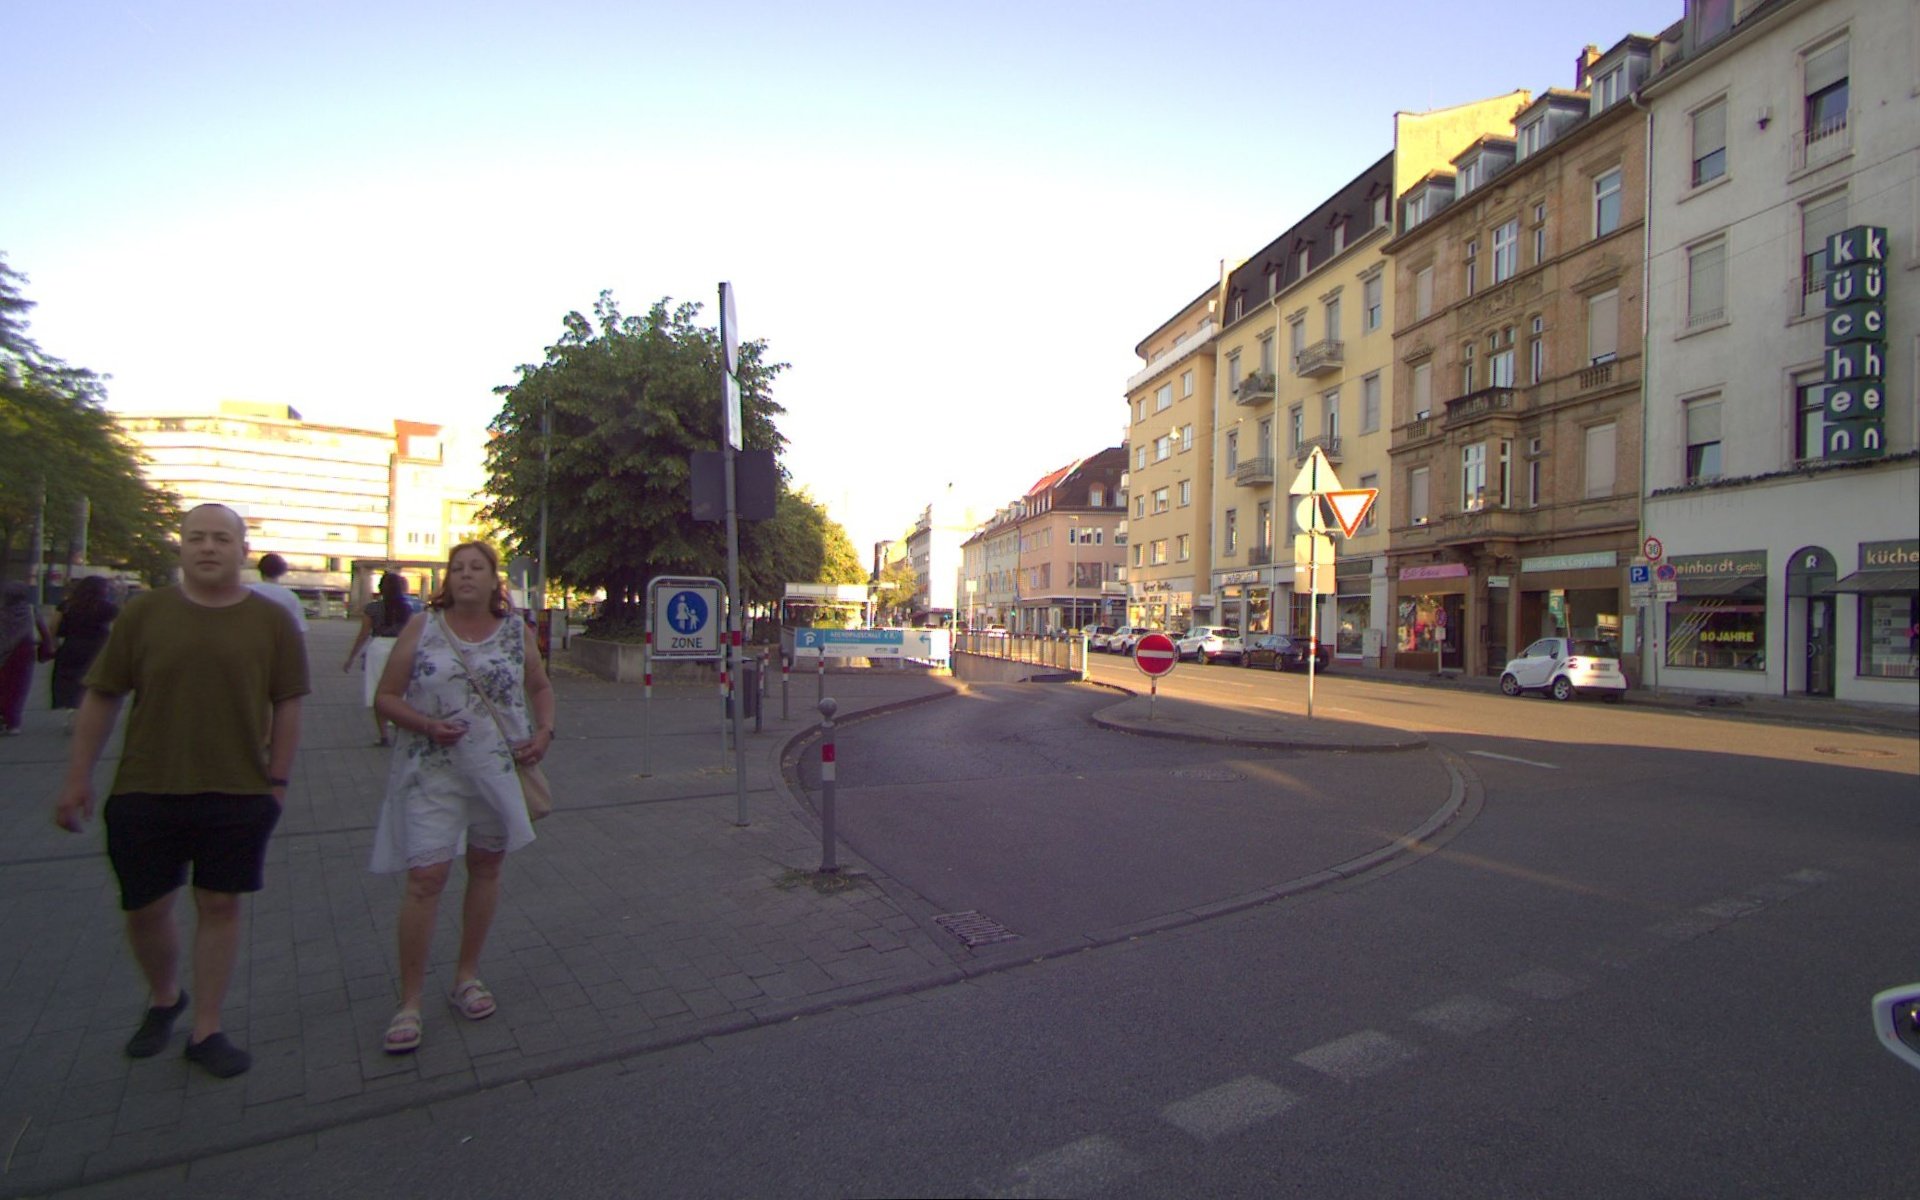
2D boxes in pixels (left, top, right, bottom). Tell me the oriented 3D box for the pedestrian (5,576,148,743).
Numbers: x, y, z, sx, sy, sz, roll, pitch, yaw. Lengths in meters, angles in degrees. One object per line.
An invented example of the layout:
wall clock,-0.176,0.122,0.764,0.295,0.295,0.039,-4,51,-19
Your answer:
pedestrian,-8.817,0.579,10.061,0.786,1.603,0.728,2,0,-15

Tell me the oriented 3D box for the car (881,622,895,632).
car,-12.675,4.769,177.166,1.964,1.638,3.993,2,-2,-10

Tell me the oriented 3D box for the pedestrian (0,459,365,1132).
pedestrian,-2.569,0.559,3.379,0.845,1.901,0.706,2,0,-39

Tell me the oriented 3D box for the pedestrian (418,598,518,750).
pedestrian,-5.162,0.751,10.554,0.703,1.506,0.603,2,0,26

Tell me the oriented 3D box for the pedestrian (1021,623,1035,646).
pedestrian,5.232,2.654,77.578,0.784,1.743,0.809,3,-1,-17

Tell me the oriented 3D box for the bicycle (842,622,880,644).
bicycle,-6.541,2.175,66.179,2.397,1.253,0.516,4,-2,-13

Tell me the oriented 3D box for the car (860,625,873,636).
car,-14.714,4.797,158.132,1.857,1.505,3.994,2,-1,-9

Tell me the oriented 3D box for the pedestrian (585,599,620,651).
pedestrian,-14.505,1.020,40.764,0.896,2.040,0.919,2,-1,12

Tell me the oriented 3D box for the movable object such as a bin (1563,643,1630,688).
movable object such as a bin,17.918,1.839,28.309,0.853,1.202,1.395,2,-1,-11

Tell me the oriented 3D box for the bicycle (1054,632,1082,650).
bicycle,7.492,2.846,69.599,1.858,1.127,0.592,3,-3,-14

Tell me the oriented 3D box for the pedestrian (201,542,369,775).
pedestrian,-5.884,0.472,8.765,0.877,1.878,0.980,2,0,41

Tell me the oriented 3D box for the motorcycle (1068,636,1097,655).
motorcycle,8.224,3.074,67.616,1.787,1.280,0.714,1,-1,-13

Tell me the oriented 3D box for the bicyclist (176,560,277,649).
bicyclist,-13.077,0.099,17.913,1.370,1.529,0.744,2,-1,-40

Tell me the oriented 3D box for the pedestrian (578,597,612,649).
pedestrian,-14.853,0.946,40.894,0.896,2.040,0.919,2,-1,12

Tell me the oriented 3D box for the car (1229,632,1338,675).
car,12.521,2.034,39.237,1.964,1.453,4.842,2,-1,-10

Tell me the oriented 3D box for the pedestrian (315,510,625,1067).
pedestrian,-1.877,0.624,3.852,0.876,1.827,0.706,2,0,-41

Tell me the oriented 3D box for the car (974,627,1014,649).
car,2.621,2.944,78.318,2.300,1.625,3.887,2,-1,-10

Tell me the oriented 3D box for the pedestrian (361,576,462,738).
pedestrian,-6.291,0.629,11.536,0.675,1.769,0.715,2,0,26

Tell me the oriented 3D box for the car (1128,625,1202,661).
car,10.302,2.125,50.859,1.986,1.564,4.860,2,0,-10

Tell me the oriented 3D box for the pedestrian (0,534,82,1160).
pedestrian,-2.998,0.653,2.557,0.700,1.691,0.883,2,0,20

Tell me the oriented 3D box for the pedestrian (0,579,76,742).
pedestrian,-9.292,0.585,9.959,0.673,1.563,0.587,2,0,-33

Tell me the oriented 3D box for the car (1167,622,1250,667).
car,11.064,1.955,45.069,1.854,1.768,4.650,2,0,-10

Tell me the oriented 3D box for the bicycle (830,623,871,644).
bicycle,-7.021,2.150,64.554,2.460,1.301,0.816,2,-1,10

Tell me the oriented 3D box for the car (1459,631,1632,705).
car,15.029,1.698,26.059,1.675,1.606,3.992,2,0,-10

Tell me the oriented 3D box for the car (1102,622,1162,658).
car,9.534,2.222,56.152,1.841,1.785,4.399,2,0,-11

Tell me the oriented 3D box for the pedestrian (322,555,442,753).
pedestrian,-5.798,0.528,10.121,0.766,1.900,0.714,2,0,-6

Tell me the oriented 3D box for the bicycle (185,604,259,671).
bicycle,-13.132,0.642,17.845,0.944,1.116,2.303,2,-2,-39

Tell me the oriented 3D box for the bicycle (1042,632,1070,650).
bicycle,6.849,2.937,71.841,1.858,1.183,0.721,2,-1,-14

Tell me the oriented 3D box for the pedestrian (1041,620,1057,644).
pedestrian,6.673,2.390,75.150,0.863,1.743,0.752,3,-2,-35

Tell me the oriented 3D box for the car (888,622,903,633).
car,-10.801,4.622,168.125,1.964,1.803,3.993,2,-2,-10

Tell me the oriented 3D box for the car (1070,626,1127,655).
car,8.549,2.490,62.304,1.965,1.634,4.793,2,-2,-12

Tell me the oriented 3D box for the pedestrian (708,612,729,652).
pedestrian,-12.075,1.609,50.179,0.789,1.974,0.731,2,-1,2

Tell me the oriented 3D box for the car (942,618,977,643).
car,-0.057,2.298,76.814,1.964,1.773,3.993,2,-1,-10

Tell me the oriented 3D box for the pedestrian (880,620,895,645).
pedestrian,-5.380,2.400,74.262,0.872,1.743,0.712,3,-1,-22

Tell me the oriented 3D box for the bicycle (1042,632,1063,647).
bicycle,6.735,2.900,73.253,1.480,1.039,0.511,1,-1,-15
